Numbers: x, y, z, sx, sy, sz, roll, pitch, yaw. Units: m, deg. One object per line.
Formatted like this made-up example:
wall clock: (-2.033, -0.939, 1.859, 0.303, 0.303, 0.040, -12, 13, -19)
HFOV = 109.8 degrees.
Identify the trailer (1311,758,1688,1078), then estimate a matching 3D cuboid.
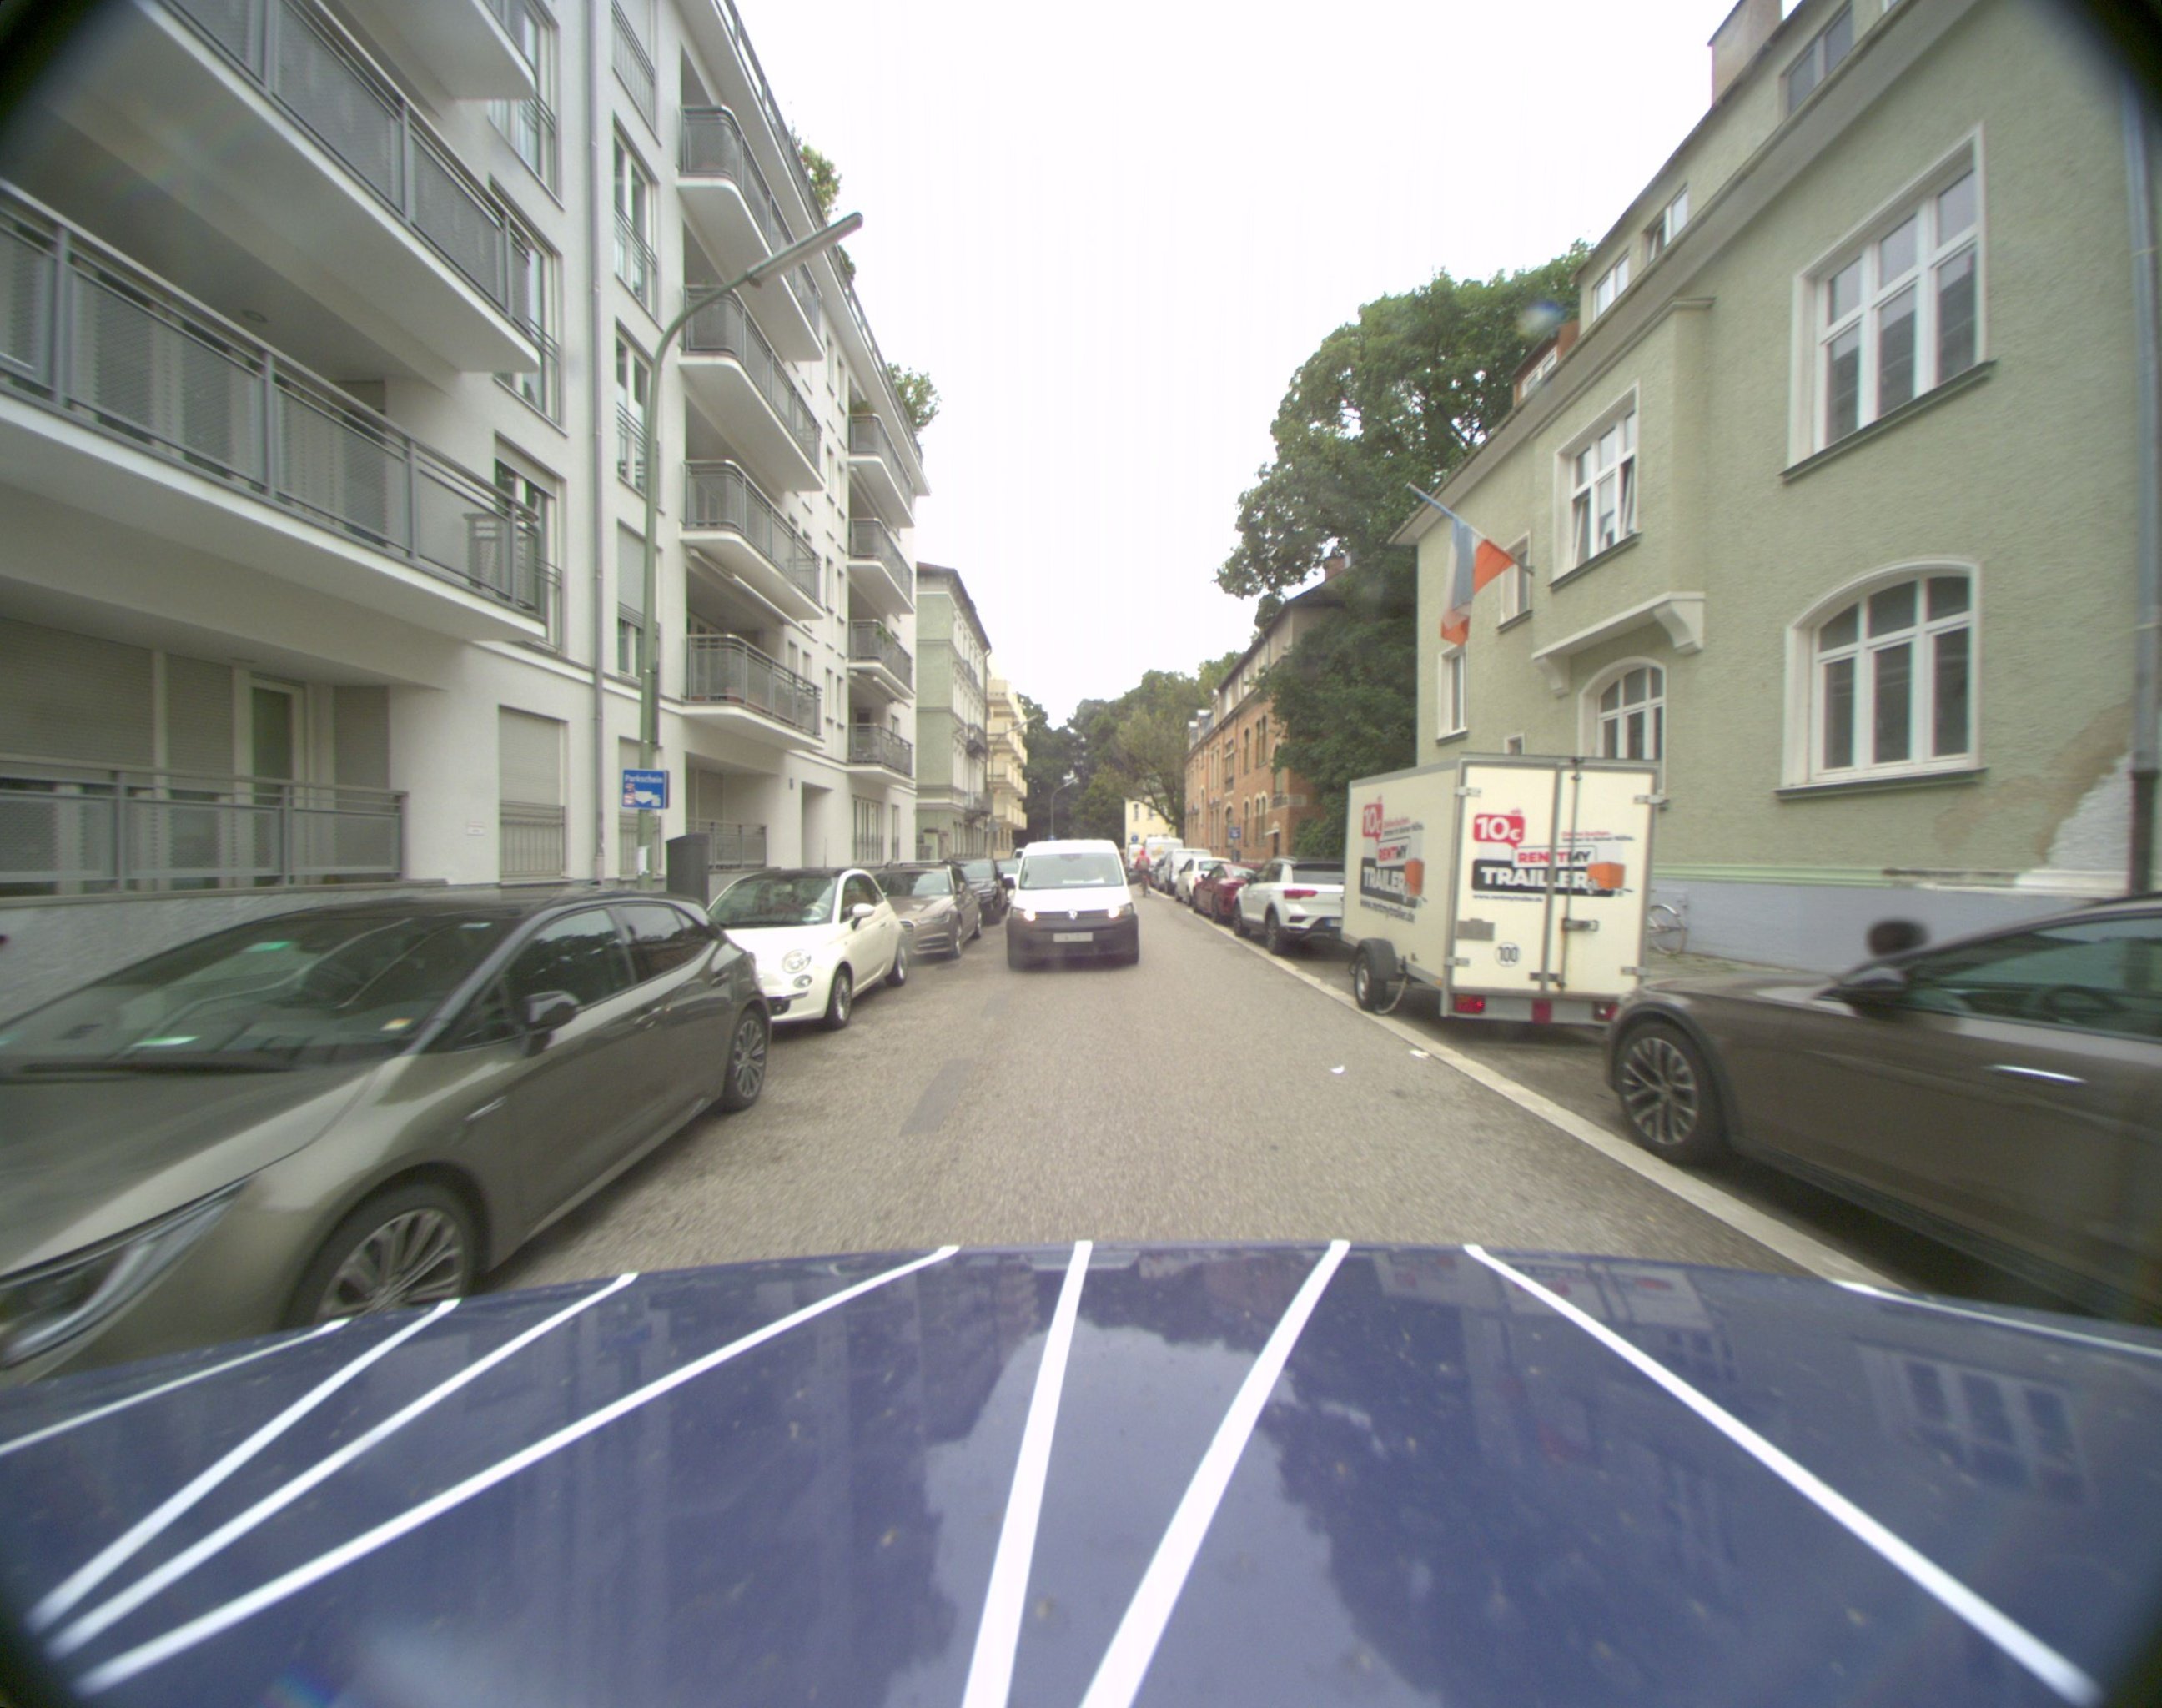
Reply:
trailer: (3.911, 0.493, 8.115, 1.713, 2.447, 4.387, 2, 0, 3)

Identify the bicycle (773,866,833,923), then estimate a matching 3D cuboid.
bicycle: (-6.264, 0.878, 17.212, 0.629, 1.153, 2.127, 0, 0, -2)

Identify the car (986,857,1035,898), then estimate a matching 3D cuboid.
car: (-2.684, 0.869, 29.645, 1.623, 1.404, 3.552, -3, 1, -2)

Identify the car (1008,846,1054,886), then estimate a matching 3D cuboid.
car: (-2.542, 0.592, 39.627, 1.858, 1.885, 4.592, -3, 0, 2)

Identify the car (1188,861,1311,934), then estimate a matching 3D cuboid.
car: (3.913, 0.951, 18.404, 1.865, 1.404, 4.332, 2, 1, -2)

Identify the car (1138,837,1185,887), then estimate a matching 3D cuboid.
car: (4.227, 0.386, 40.742, 1.986, 2.463, 5.222, 1, 0, 1)

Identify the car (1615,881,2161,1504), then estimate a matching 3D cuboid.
car: (3.727, 0.962, 1.849, 1.770, 1.529, 4.541, 2, 1, 3)

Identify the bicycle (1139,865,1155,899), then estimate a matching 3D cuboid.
bicycle: (2.362, 0.982, 27.282, 0.505, 1.121, 1.773, 1, 0, 3)

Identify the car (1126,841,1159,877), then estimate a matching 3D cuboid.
car: (4.535, 0.392, 56.787, 2.118, 2.525, 4.421, 2, 0, 1)

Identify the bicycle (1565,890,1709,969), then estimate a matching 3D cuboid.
bicycle: (7.833, 1.030, 10.824, 0.524, 0.901, 1.928, -3, 0, -3)

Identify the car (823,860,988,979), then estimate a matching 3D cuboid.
car: (-2.749, 0.936, 12.973, 1.738, 1.521, 4.620, -3, 0, -1)

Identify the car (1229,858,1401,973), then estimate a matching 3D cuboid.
car: (3.797, 0.903, 13.032, 1.691, 1.593, 3.921, 2, 0, 0)

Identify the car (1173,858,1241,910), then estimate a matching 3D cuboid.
car: (3.873, 0.875, 23.814, 1.477, 1.458, 3.313, 1, 0, -1)

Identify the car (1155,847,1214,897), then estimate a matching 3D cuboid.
car: (4.029, 0.661, 30.261, 1.694, 1.793, 4.144, 1, 0, -1)

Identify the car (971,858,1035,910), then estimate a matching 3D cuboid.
car: (-2.445, 0.900, 24.685, 1.662, 1.431, 4.206, -3, 0, -1)

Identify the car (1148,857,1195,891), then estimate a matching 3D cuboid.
car: (4.210, 0.881, 35.756, 1.694, 1.434, 4.145, 1, 0, 0)

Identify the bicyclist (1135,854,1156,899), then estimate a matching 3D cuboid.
bicyclist: (2.313, 0.795, 27.281, 0.695, 1.552, 0.967, 1, 1, 3)

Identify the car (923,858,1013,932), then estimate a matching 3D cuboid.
car: (-2.678, 0.912, 18.762, 1.608, 1.521, 3.983, -3, 0, -1)

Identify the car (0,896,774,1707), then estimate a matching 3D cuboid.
car: (-2.880, 1.017, 3.031, 1.768, 1.400, 4.077, -1, 1, -2)

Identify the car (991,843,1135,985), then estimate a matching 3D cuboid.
car: (-0.174, 0.760, 11.560, 1.776, 1.761, 4.000, -1, 0, 2)

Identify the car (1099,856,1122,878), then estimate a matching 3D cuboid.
car: (2.058, 0.901, 54.512, 1.585, 1.403, 3.612, 0, 1, 1)

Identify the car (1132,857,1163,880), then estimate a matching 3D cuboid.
car: (4.417, 0.958, 50.886, 1.694, 1.434, 3.984, 2, 0, 0)

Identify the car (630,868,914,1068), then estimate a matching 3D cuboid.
car: (-2.932, 0.971, 8.025, 1.523, 1.521, 3.526, -2, 0, 0)

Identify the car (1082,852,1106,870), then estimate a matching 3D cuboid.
car: (1.354, 0.710, 81.248, 1.777, 1.793, 4.568, -1, 0, -10)
